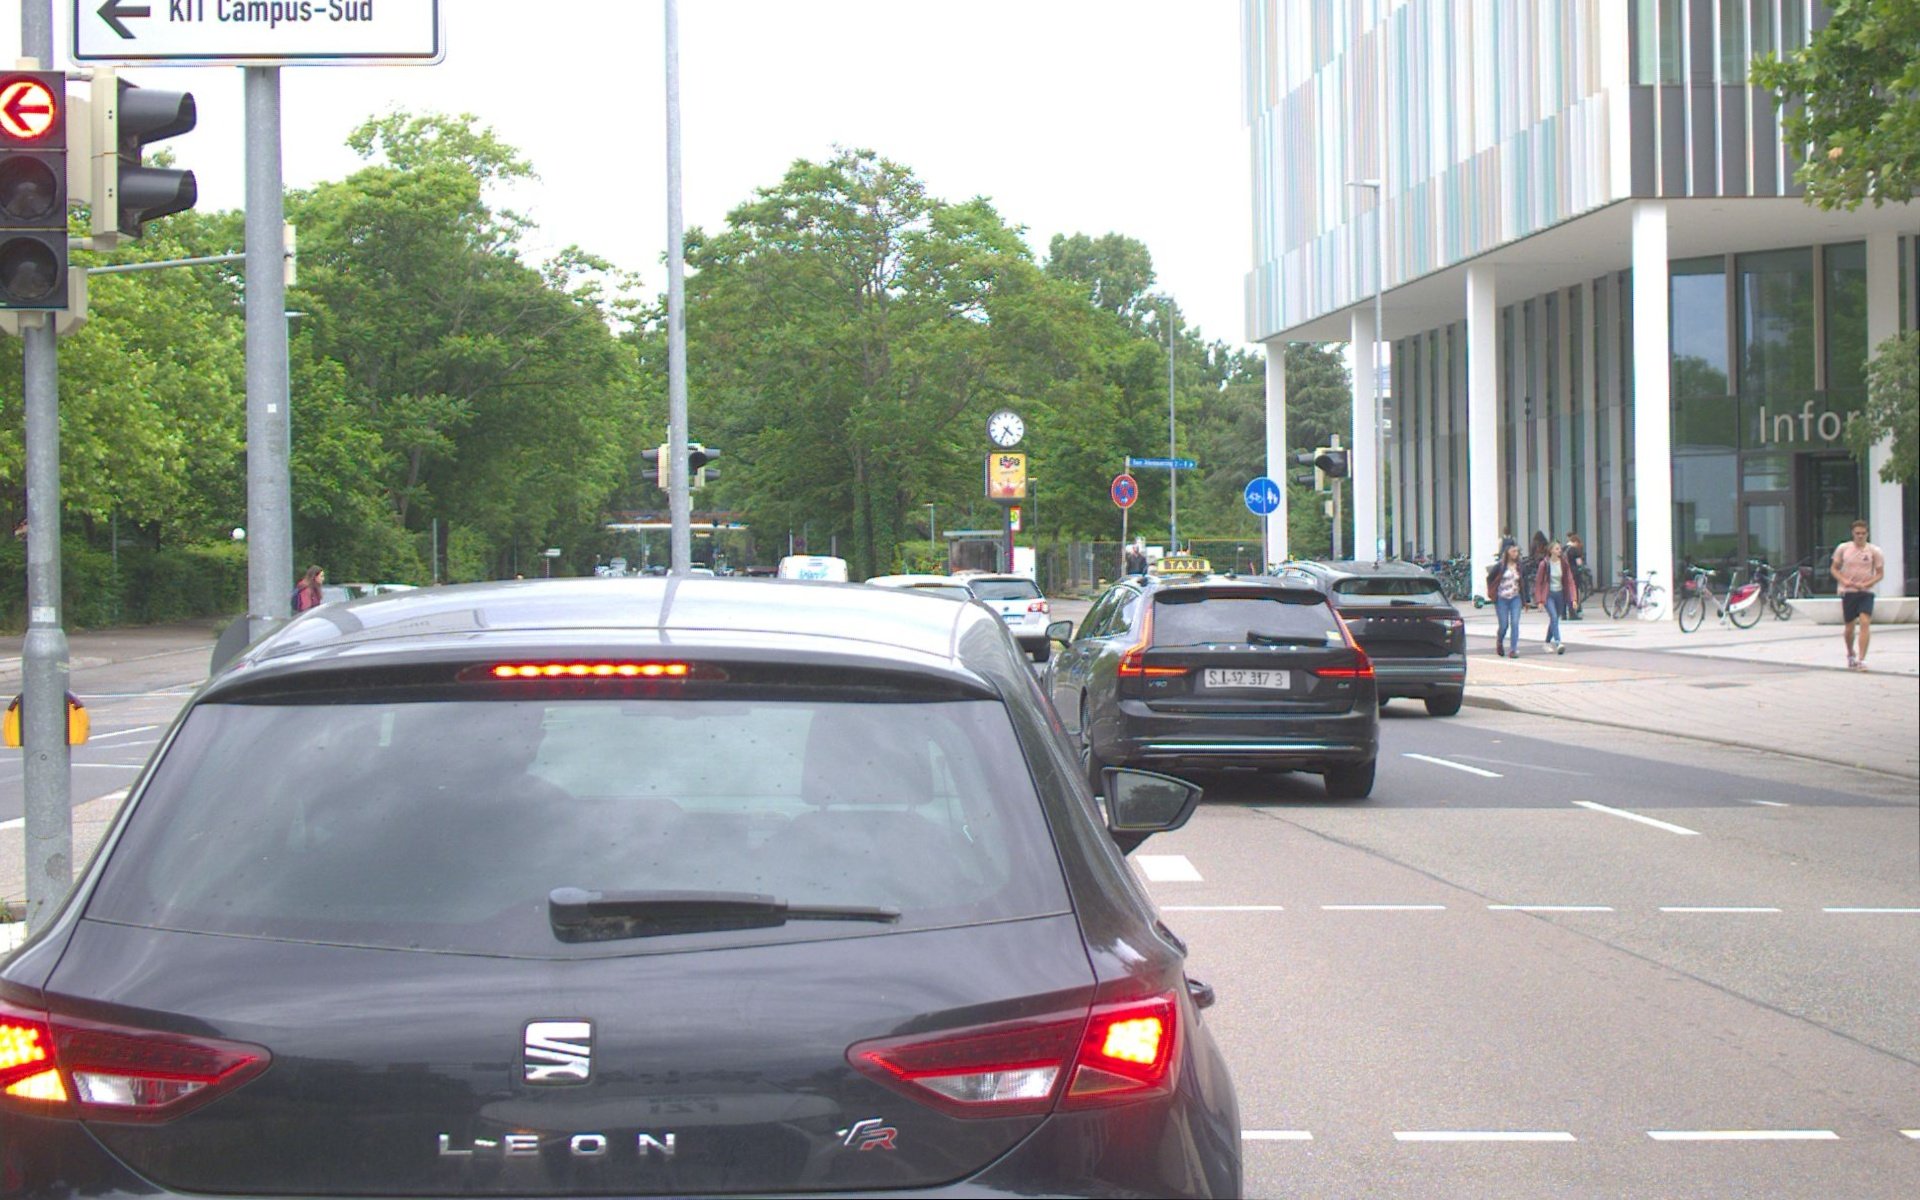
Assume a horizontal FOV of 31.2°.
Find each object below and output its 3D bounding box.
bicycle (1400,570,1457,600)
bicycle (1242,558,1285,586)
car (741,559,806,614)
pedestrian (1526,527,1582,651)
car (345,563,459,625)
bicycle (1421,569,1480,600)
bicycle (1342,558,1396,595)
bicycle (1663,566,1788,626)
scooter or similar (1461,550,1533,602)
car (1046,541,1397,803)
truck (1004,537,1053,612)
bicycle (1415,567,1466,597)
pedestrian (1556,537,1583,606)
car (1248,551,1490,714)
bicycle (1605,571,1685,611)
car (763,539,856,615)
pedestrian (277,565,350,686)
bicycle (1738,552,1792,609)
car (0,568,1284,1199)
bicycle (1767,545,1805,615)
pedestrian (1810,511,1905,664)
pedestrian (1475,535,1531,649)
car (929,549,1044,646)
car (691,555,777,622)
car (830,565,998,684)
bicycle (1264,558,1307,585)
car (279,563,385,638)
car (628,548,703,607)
[{"bbox_3d":[11.724,-0.379,85.999,1.375,0.703,0.489,-2,1,8],"label":"bicycle"},{"bbox_3d":[9.627,-0.890,108.968,1.258,0.845,0.482,2,0,-22],"label":"bicycle"},{"bbox_3d":[-6.360,-0.477,117.820,1.993,1.728,4.210,-2,1,-1],"label":"car"},{"bbox_3d":[8.616,-0.166,49.875,0.687,1.775,0.677,-1,1,-1],"label":"pedestrian"},{"bbox_3d":[-15.636,-0.186,96.485,1.759,1.582,3.998,-2,1,12],"label":"car"},{"bbox_3d":[12.009,-0.387,84.202,1.374,0.703,0.416,-2,1,2],"label":"bicycle"},{"bbox_3d":[10.925,-0.623,91.845,1.387,0.938,0.487,-1,1,7],"label":"bicycle"},{"bbox_3d":[12.516,-0.073,56.203,1.886,0.895,0.697,-3,1,-21],"label":"bicycle"},{"bbox_3d":[12.231,-0.550,78.316,1.671,1.103,0.499,-3,1,-32],"label":"scooter or similar"},{"bbox_3d":[1.664,0.411,23.321,1.883,1.594,4.447,0,1,-2],"label":"car"},{"bbox_3d":[2.101,-0.812,106.574,1.317,2.235,3.402,-2,1,-1],"label":"truck"},{"bbox_3d":[12.237,-0.458,87.572,1.273,0.703,0.485,-2,1,7],"label":"bicycle"},{"bbox_3d":[12.179,-0.566,68.723,0.472,1.357,0.445,-2,1,10],"label":"pedestrian"},{"bbox_3d":[4.309,0.295,36.854,1.907,1.619,4.491,1,1,-2],"label":"car"},{"bbox_3d":[13.878,-0.186,69.685,1.479,0.746,0.566,-2,1,-4],"label":"bicycle"},{"bbox_3d":[-4.103,-0.637,93.241,1.966,1.965,4.345,1,1,-10],"label":"car"},{"bbox_3d":[-8.738,0.336,46.457,0.874,1.581,0.543,-2,1,-7],"label":"pedestrian"},{"bbox_3d":[15.735,-0.389,67.192,0.620,1.042,1.703,-2,1,26],"label":"bicycle"},{"bbox_3d":[-0.463,0.687,5.750,1.753,1.427,3.769,1,1,2],"label":"car"},{"bbox_3d":[15.469,-0.378,64.398,0.526,1.248,1.664,-2,1,18],"label":"bicycle"},{"bbox_3d":[10.570,-0.153,40.497,0.847,1.759,0.768,-2,1,-1],"label":"pedestrian"},{"bbox_3d":[7.867,-0.122,49.847,0.687,1.634,0.633,0,1,-1],"label":"pedestrian"},{"bbox_3d":[0.481,-0.024,57.826,1.825,1.545,4.527,1,0,2],"label":"car"},{"bbox_3d":[-5.050,-0.277,76.520,1.722,1.409,4.246,0,1,-6],"label":"car"},{"bbox_3d":[-0.641,0.287,44.773,1.781,1.458,3.872,0,1,-7],"label":"car"},{"bbox_3d":[10.126,-0.889,106.867,1.234,0.820,0.482,1,0,-22],"label":"bicycle"},{"bbox_3d":[-15.737,-0.006,86.307,1.906,1.711,4.000,-2,1,-1],"label":"car"},{"bbox_3d":[-8.193,-0.630,95.389,1.729,1.597,4.107,0,1,-9],"label":"car"}]
